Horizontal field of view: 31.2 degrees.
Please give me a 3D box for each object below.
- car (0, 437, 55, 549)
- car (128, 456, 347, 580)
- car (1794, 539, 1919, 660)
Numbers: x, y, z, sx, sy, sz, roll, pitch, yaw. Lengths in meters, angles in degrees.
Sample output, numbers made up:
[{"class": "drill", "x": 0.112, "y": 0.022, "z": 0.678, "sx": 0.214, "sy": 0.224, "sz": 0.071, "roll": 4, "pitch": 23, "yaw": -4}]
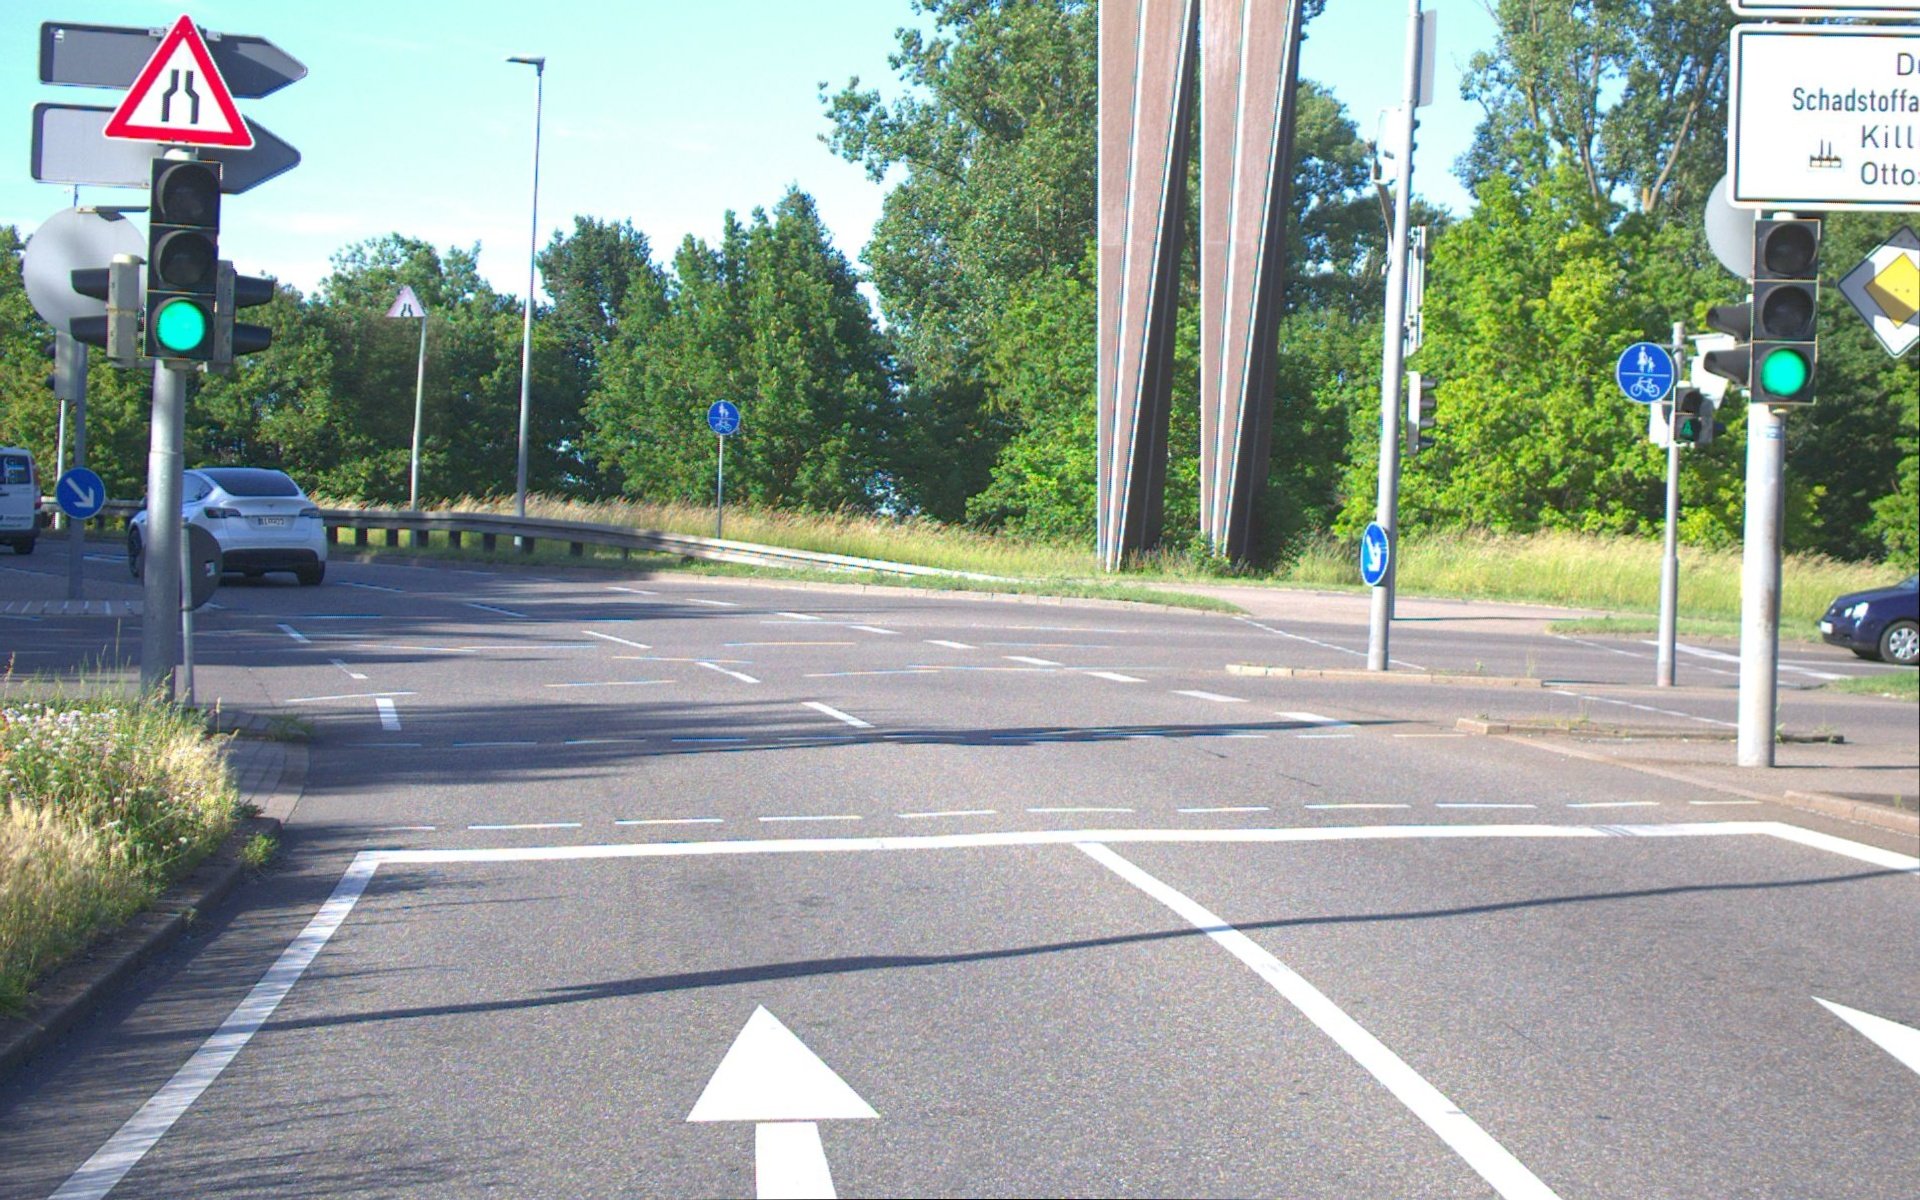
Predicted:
[{"class": "car", "x": -17.549, "y": -1.921, "z": 60.372, "sx": 1.993, "sy": 1.873, "sz": 4.249, "roll": 1, "pitch": 2, "yaw": -32}, {"class": "car", "x": -10.306, "y": -1.191, "z": 48.833, "sx": 1.993, "sy": 1.634, "sz": 4.129, "roll": 1, "pitch": 2, "yaw": -27}, {"class": "car", "x": 12.888, "y": 0.066, "z": 44.293, "sx": 3.746, "sy": 1.398, "sz": 1.694, "roll": 4, "pitch": 3, "yaw": -2}]
